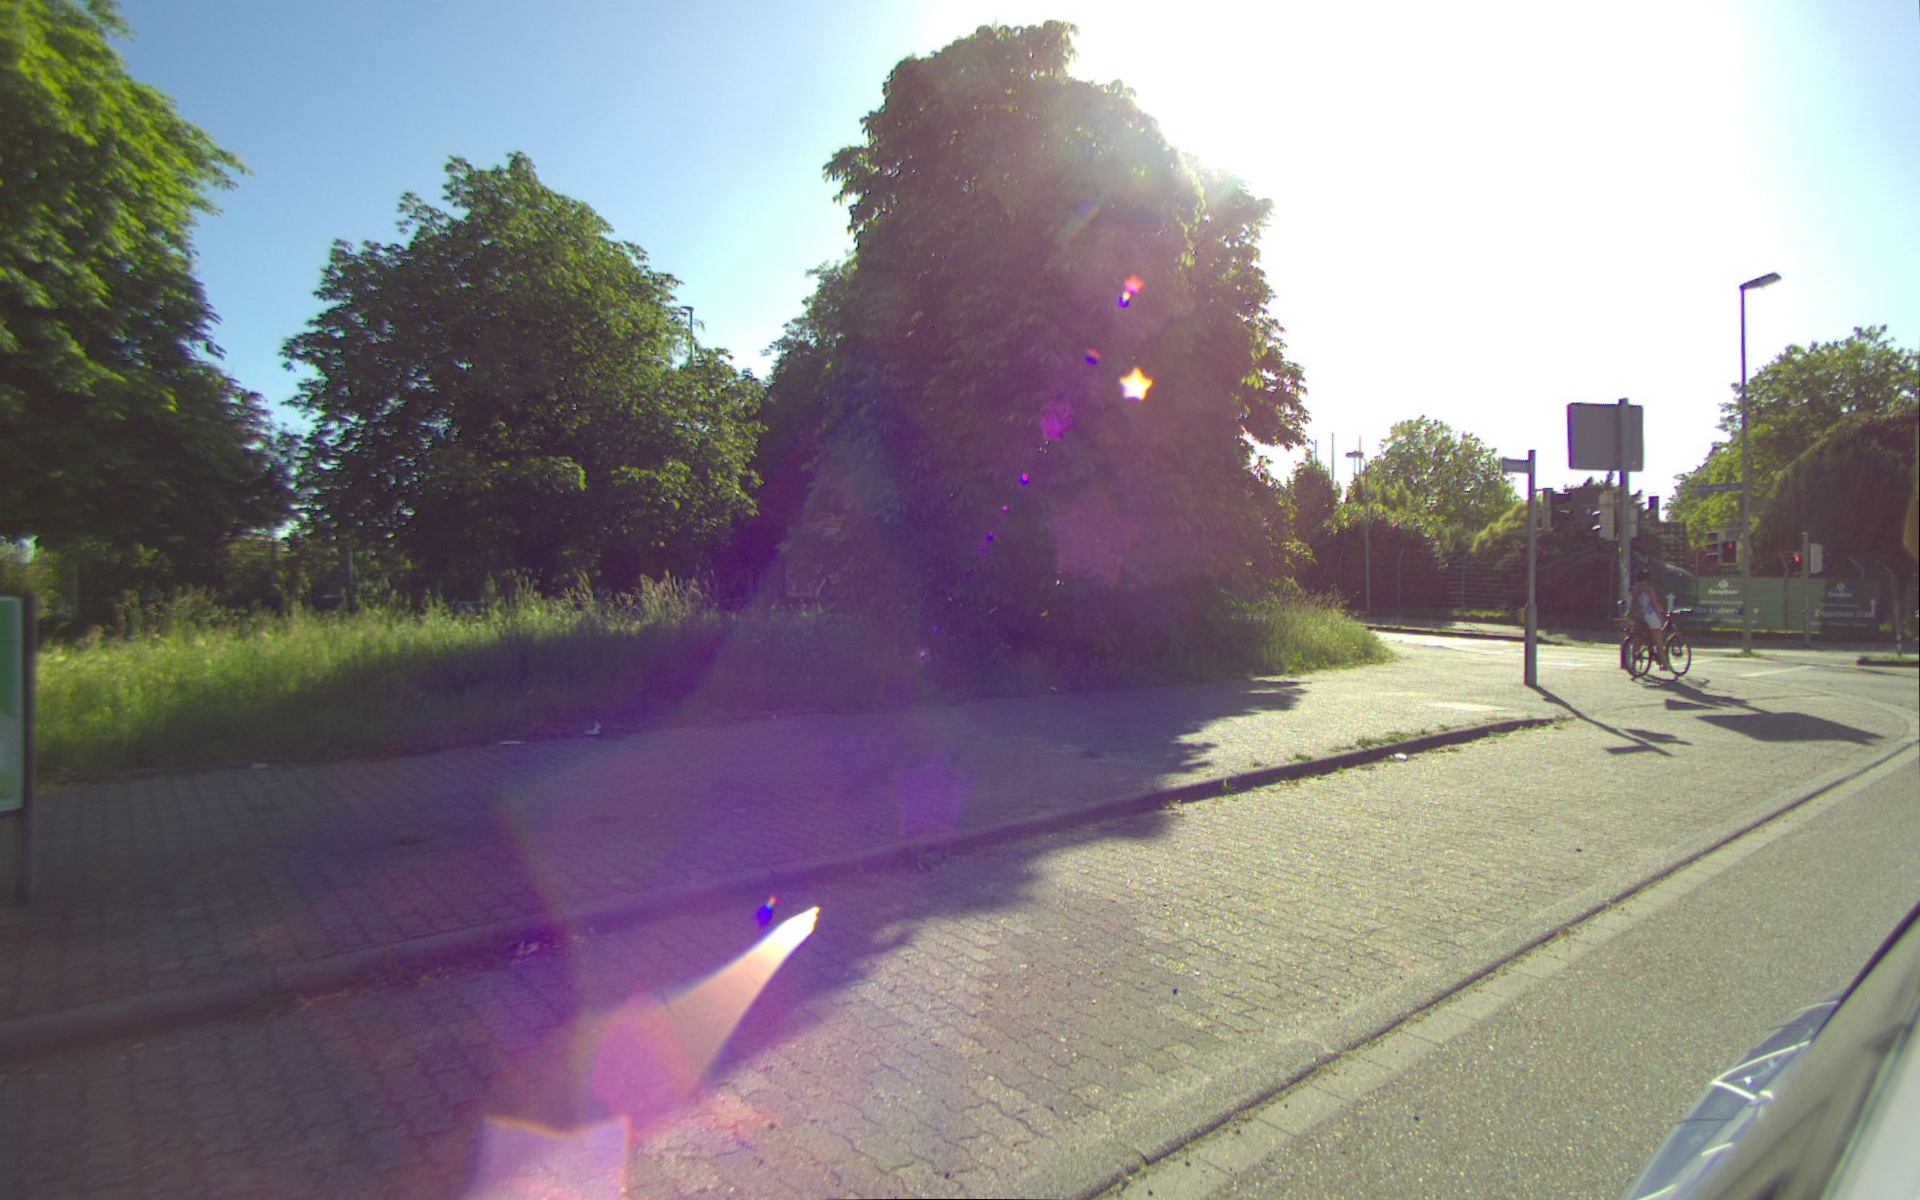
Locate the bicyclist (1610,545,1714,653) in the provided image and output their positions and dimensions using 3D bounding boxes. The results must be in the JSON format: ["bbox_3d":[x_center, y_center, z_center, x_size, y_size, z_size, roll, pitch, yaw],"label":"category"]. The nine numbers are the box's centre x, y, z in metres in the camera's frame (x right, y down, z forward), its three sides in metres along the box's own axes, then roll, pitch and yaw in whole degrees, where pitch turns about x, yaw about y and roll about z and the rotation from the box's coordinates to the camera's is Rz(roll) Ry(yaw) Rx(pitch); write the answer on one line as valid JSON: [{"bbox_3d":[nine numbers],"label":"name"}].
[{"bbox_3d":[11.630,-0.012,16.790,1.165,1.714,0.894,0,-1,-19],"label":"bicyclist"}]

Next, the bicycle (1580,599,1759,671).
[{"bbox_3d":[11.806,0.560,16.833,2.891,1.140,0.905,0,-1,-19],"label":"bicycle"}]
